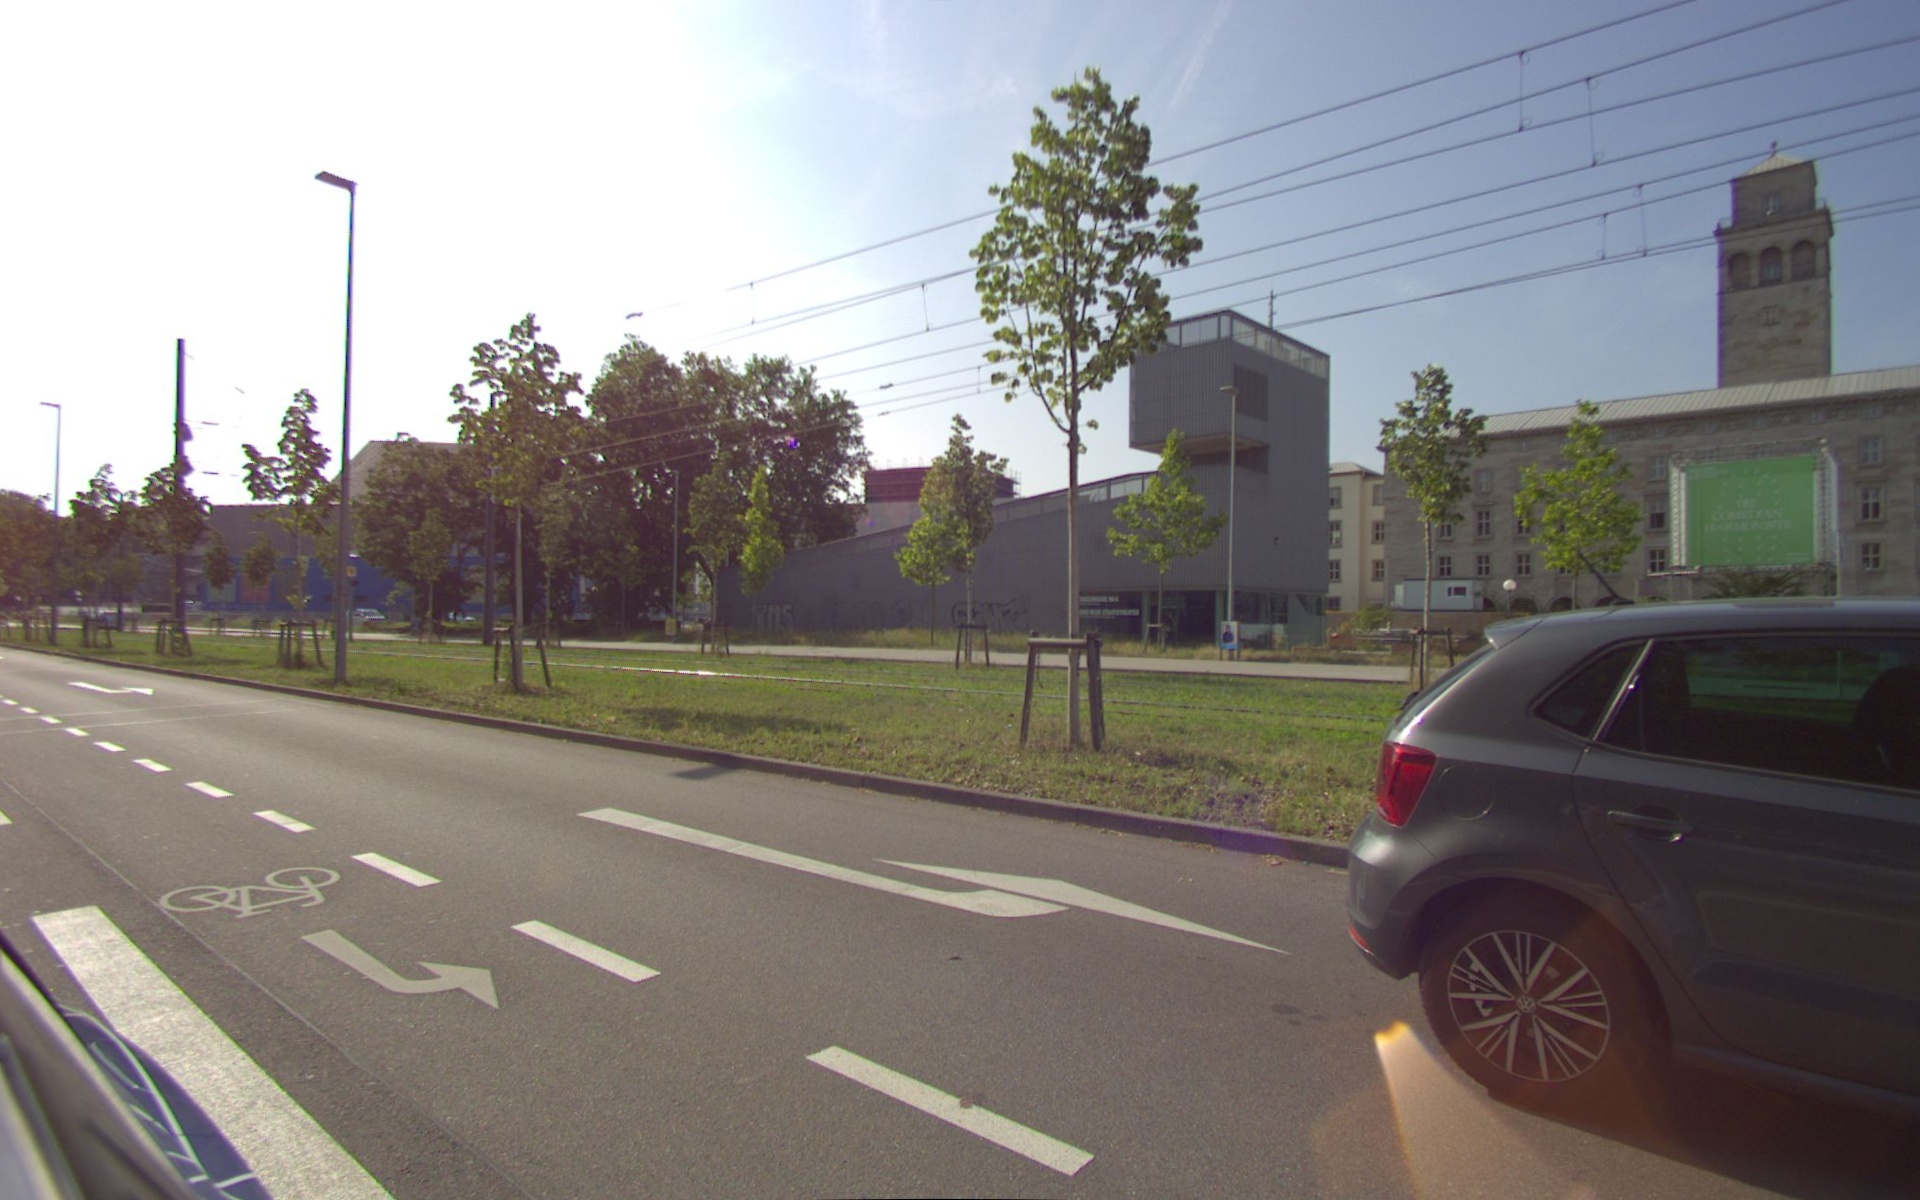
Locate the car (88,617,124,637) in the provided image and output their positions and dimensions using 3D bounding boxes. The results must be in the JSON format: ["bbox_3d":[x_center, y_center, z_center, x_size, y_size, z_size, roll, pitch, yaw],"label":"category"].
[{"bbox_3d":[-73.013,2.310,86.502,3.769,1.630,1.734,-1,-1,41],"label":"car"}]

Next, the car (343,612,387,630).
[{"bbox_3d":[-61.079,2.162,103.832,4.809,1.781,1.997,-1,-1,33],"label":"car"}]

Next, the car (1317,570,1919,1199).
[{"bbox_3d":[3.133,0.632,2.532,3.868,1.443,1.686,-1,1,41],"label":"car"}]
